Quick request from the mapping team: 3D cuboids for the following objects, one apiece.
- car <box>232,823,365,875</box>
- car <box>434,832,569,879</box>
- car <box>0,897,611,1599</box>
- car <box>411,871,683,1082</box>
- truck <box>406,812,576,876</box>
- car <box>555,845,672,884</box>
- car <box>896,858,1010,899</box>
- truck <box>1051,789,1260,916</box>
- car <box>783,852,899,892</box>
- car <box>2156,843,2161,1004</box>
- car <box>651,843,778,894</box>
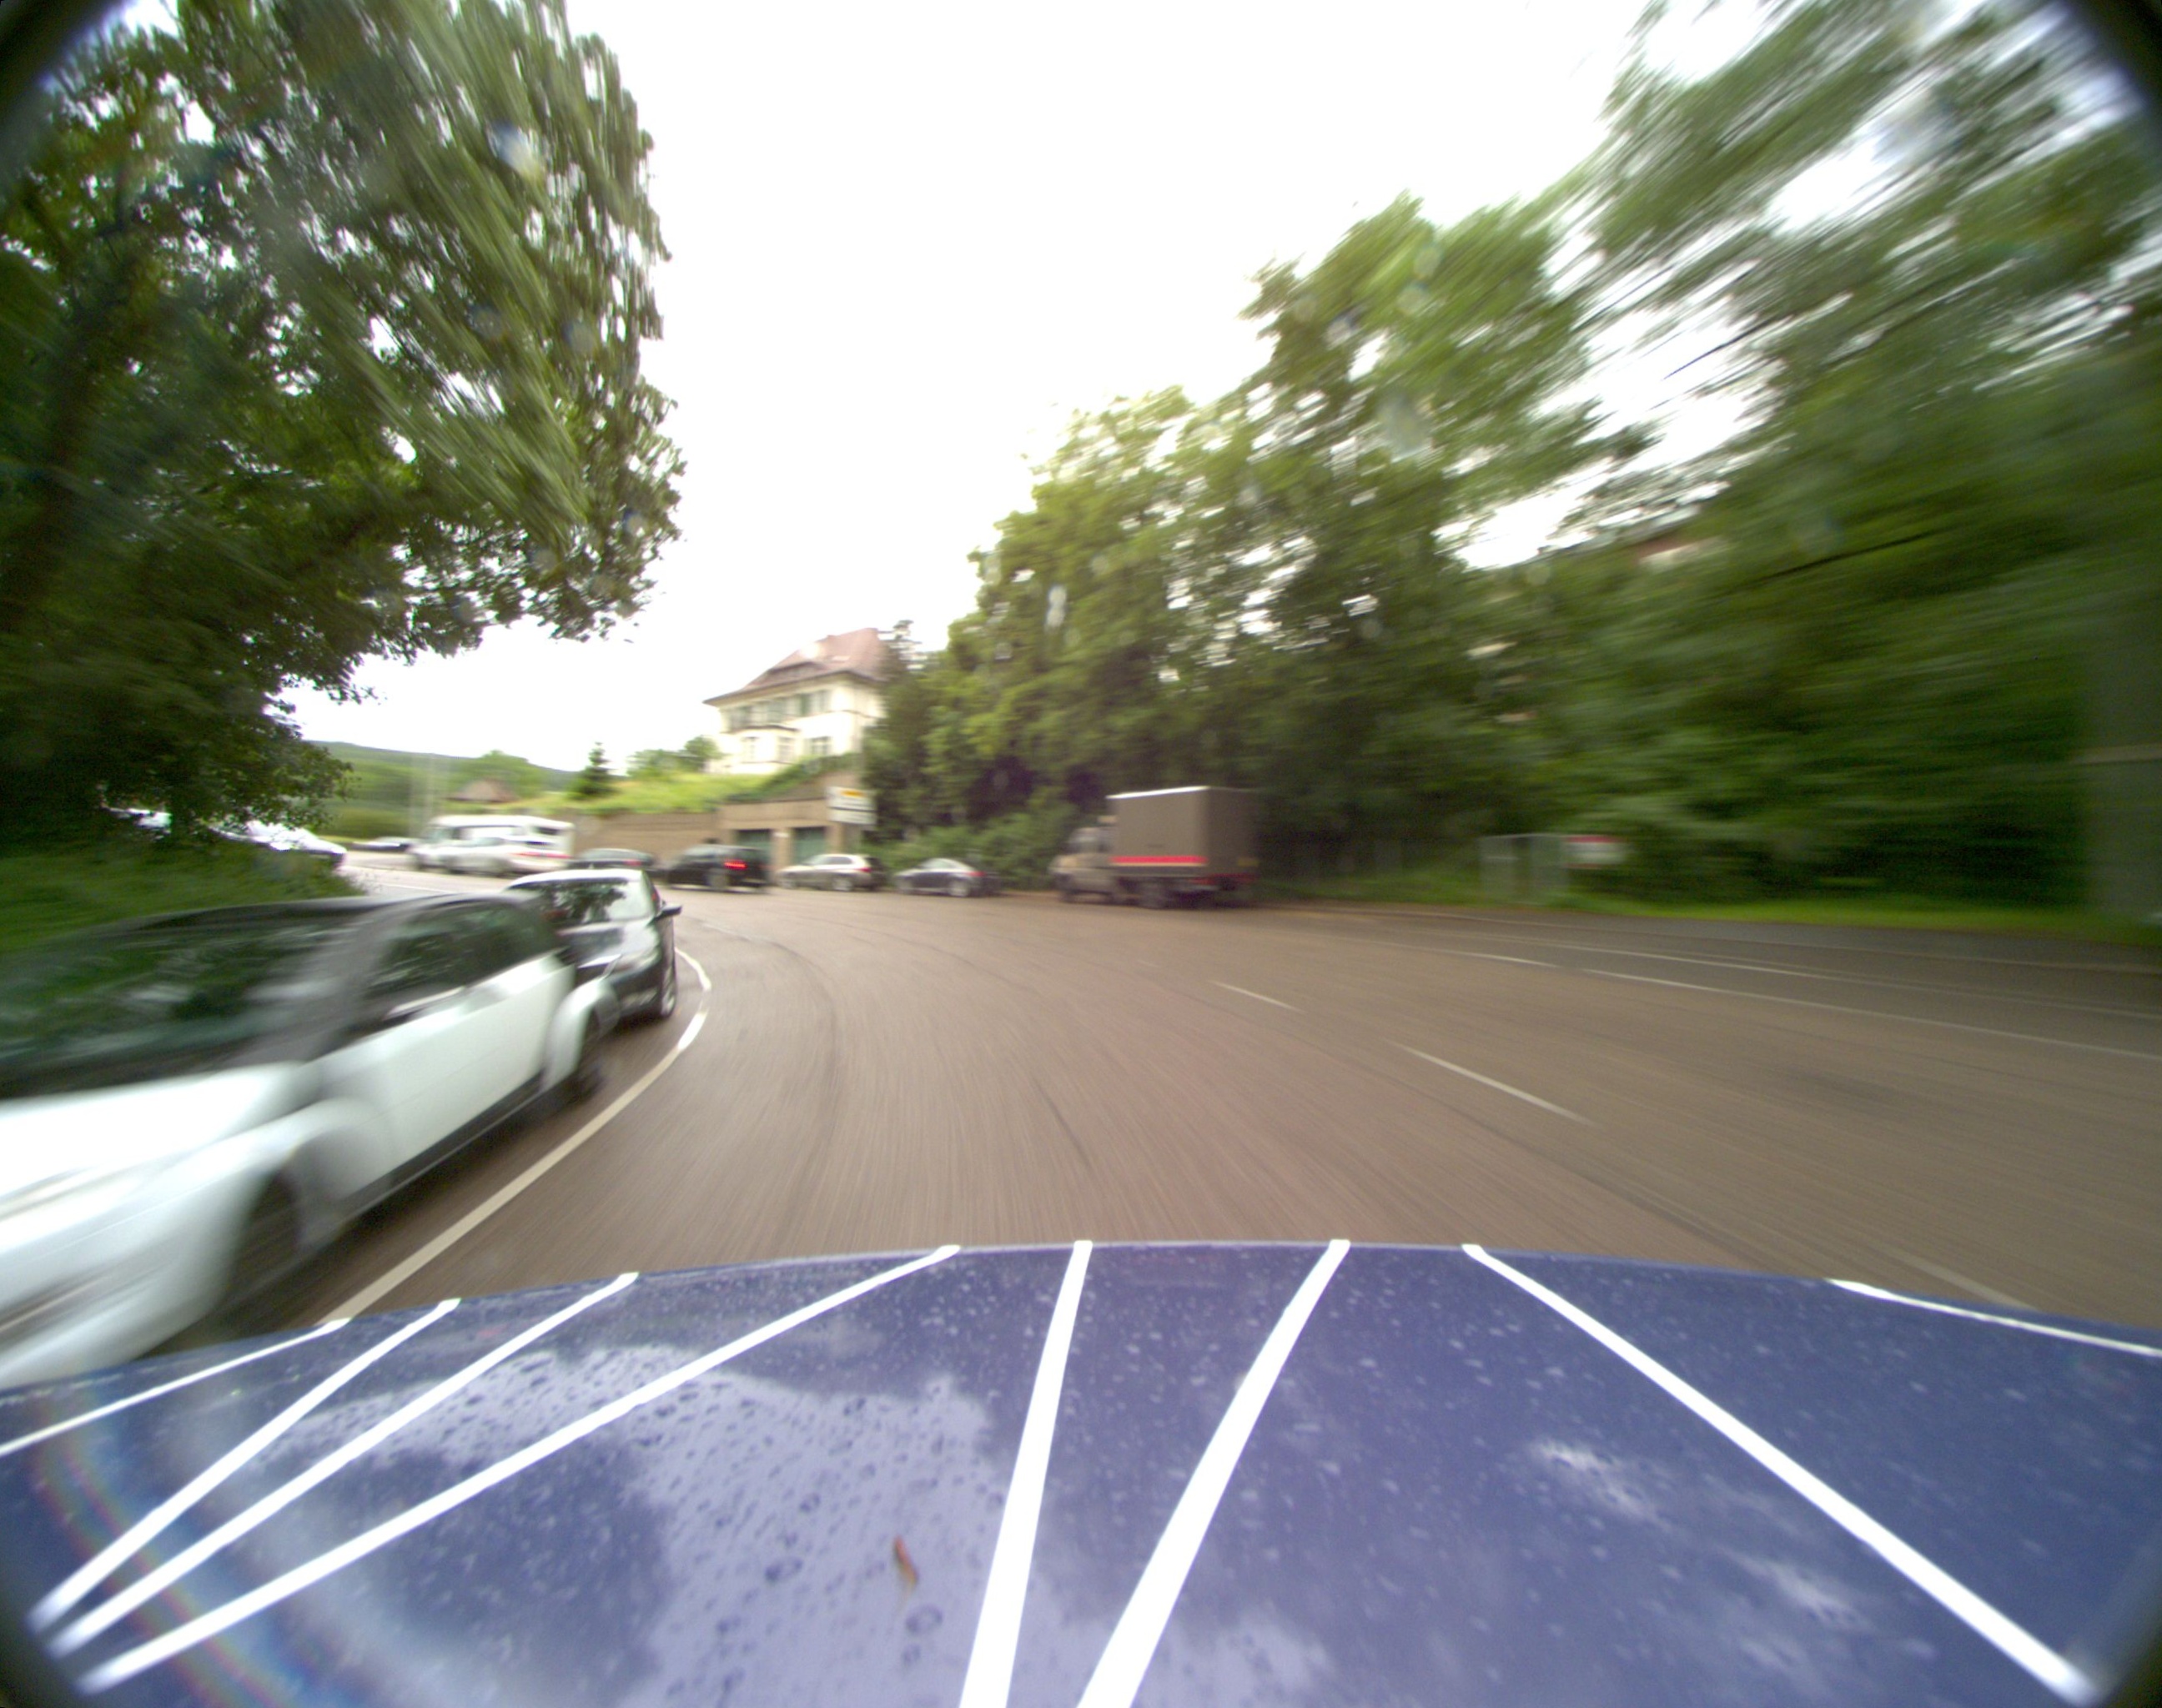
[{"bbox_3d":[-25.909,-0.138,25.158,3.934,1.559,1.840,0,-3,26],"label":"car"},{"bbox_3d":[-21.360,0.065,28.060,4.072,1.563,1.824,2,-1,16],"label":"car"},{"bbox_3d":[-3.833,1.110,3.383,1.664,1.439,3.696,-3,2,-11],"label":"car"},{"bbox_3d":[-5.337,1.016,8.148,1.682,1.422,3.977,-3,3,-26],"label":"car"},{"bbox_3d":[-26.732,-0.438,34.493,6.449,2.661,2.449,1,-2,13],"label":"truck"},{"bbox_3d":[-20.213,0.460,32.929,3.993,1.332,1.848,3,-4,11],"label":"car"},{"bbox_3d":[-4.546,0.822,26.807,3.815,1.292,1.604,1,0,31],"label":"car"},{"bbox_3d":[1.863,-0.023,21.181,2.236,3.042,5.930,0,0,-40],"label":"truck"},{"bbox_3d":[-9.391,0.688,29.722,4.097,1.404,1.762,2,-1,23],"label":"car"},{"bbox_3d":[9.830,0.569,3.998,2.000,1.455,4.369,-2,0,-8],"label":"car"},{"bbox_3d":[-11.973,0.467,24.839,3.726,1.480,1.640,2,-1,24],"label":"car"}]
